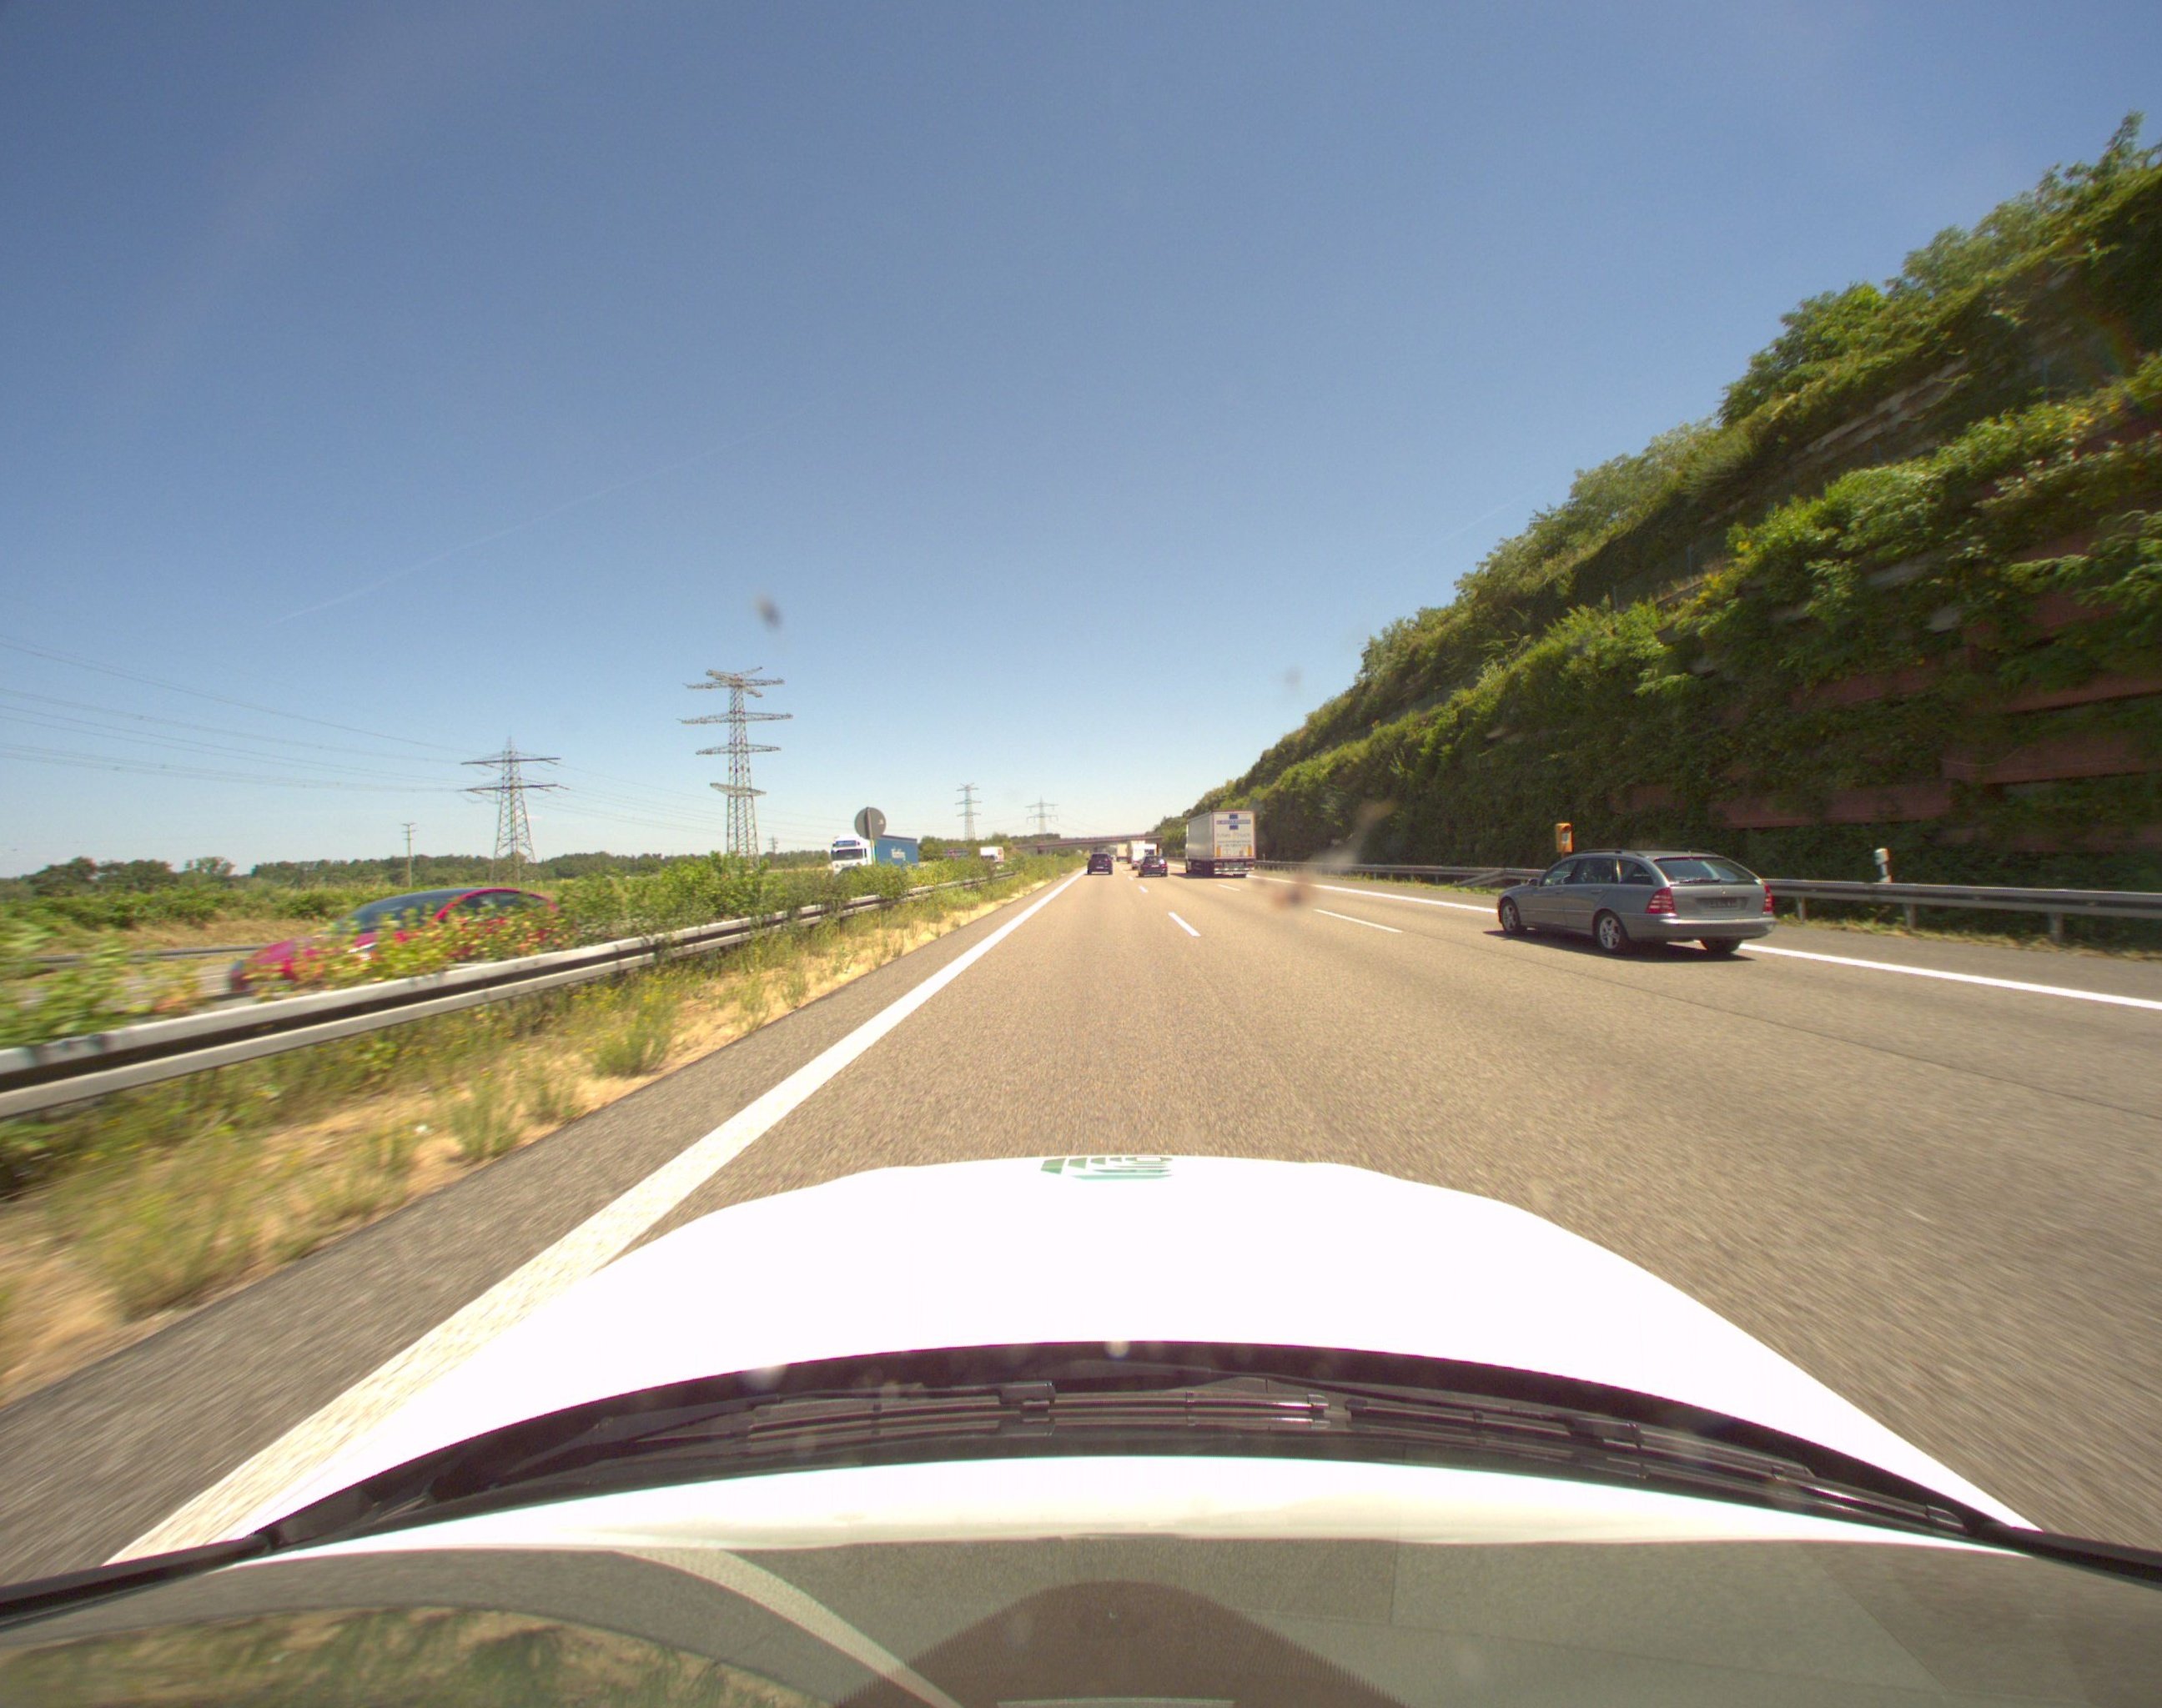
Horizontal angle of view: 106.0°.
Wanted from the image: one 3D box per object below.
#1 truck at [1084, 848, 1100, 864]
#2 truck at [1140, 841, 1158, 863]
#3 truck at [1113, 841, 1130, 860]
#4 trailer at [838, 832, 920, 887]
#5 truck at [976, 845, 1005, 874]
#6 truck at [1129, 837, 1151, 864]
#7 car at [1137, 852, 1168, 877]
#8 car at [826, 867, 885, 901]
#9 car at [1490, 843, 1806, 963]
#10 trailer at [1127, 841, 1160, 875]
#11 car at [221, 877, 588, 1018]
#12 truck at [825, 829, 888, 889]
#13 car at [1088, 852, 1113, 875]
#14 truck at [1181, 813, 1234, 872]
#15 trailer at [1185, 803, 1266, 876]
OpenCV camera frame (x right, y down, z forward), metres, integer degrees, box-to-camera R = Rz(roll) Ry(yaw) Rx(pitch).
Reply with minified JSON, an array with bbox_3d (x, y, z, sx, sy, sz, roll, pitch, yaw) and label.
[{"bbox_3d":[3.021,0.558,215.119,3.948,4.113,9.953,-2,0,1],"label":"truck"},{"bbox_3d":[14.079,-0.491,169.024,3.107,4.280,10.170,-2,0,2],"label":"truck"},{"bbox_3d":[9.448,-0.760,191.197,3.397,4.280,10.610,-2,0,2],"label":"truck"},{"bbox_3d":[-16.043,0.402,66.125,2.683,3.937,13.914,-3,0,2],"label":"trailer"},{"bbox_3d":[-13.867,0.760,125.811,2.863,4.176,10.573,-2,0,2],"label":"truck"},{"bbox_3d":[10.124,-0.567,141.475,3.107,4.280,11.937,-2,0,2],"label":"truck"},{"bbox_3d":[4.846,0.679,55.462,1.823,1.525,4.002,-3,0,2],"label":"car"},{"bbox_3d":[-12.427,1.629,45.150,1.746,1.632,4.610,-3,0,2],"label":"car"},{"bbox_3d":[8.107,0.603,12.261,1.679,1.428,4.453,-1,0,1],"label":"car"},{"bbox_3d":[6.228,0.386,82.687,2.602,3.213,9.953,-2,0,1],"label":"trailer"},{"bbox_3d":[-9.371,1.176,11.851,1.746,1.486,4.202,-3,0,0],"label":"car"},{"bbox_3d":[-16.229,0.350,59.367,2.686,4.068,5.803,-2,0,1],"label":"truck"},{"bbox_3d":[1.555,0.736,64.566,1.823,1.670,4.001,-3,0,1],"label":"car"},{"bbox_3d":[9.521,-0.844,61.743,3.124,4.141,5.505,-2,0,1],"label":"truck"},{"bbox_3d":[9.332,-0.827,54.459,3.171,4.121,13.435,-3,0,1],"label":"trailer"}]
